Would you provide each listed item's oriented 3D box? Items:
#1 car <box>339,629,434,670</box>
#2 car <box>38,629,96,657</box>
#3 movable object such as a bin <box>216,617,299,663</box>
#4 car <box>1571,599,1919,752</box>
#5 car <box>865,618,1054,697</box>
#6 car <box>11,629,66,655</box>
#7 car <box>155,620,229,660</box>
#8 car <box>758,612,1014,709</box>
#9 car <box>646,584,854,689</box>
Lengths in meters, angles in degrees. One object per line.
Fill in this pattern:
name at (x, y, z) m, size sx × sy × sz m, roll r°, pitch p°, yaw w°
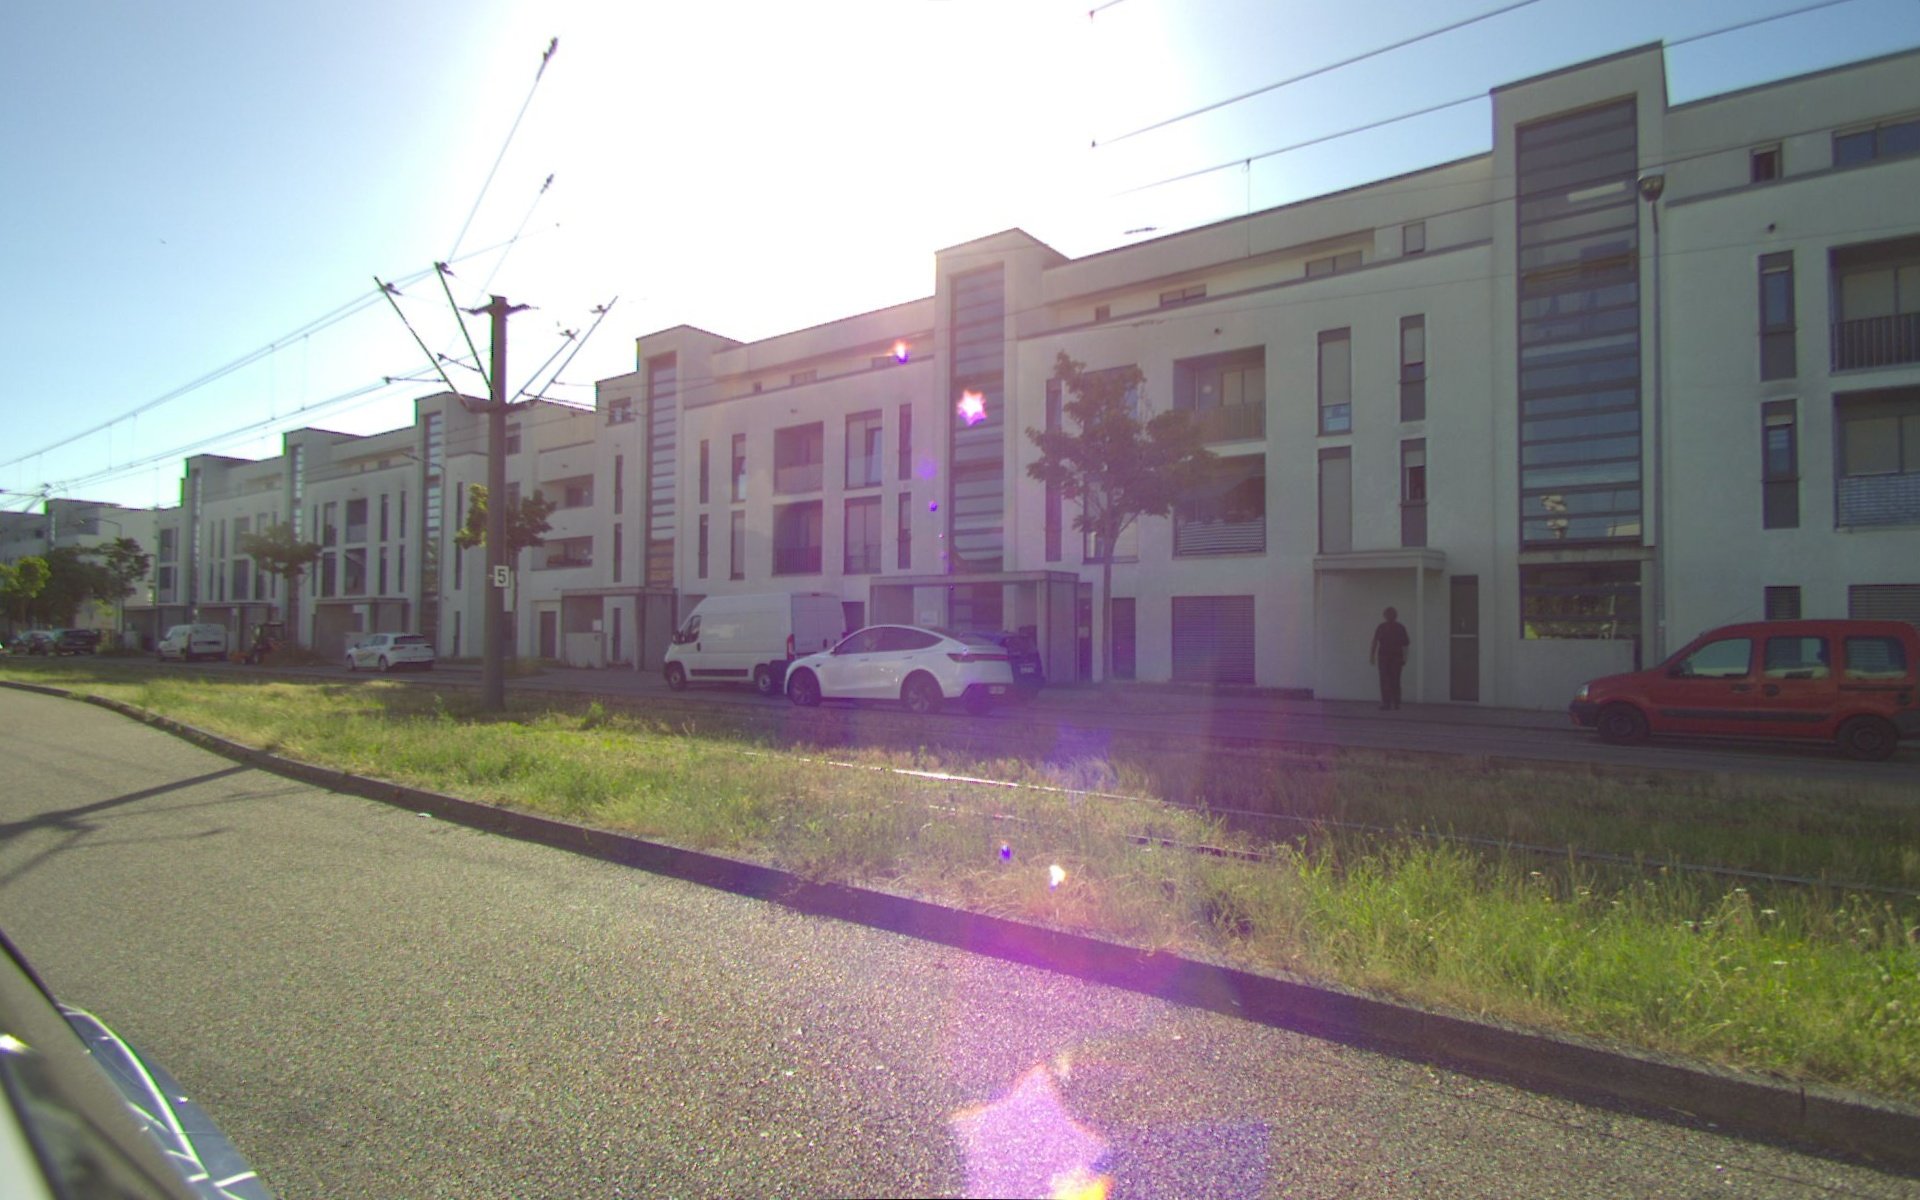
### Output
car at (-21.869, 1.852, 38.528) m, size 4.147 × 1.443 × 1.504 m, roll -2°, pitch -1°, yaw 35°
car at (-54.480, 2.597, 61.715) m, size 4.147 × 1.611 × 1.746 m, roll -2°, pitch -1°, yaw 35°
movable object such as a bin at (-31.788, 1.784, 45.759) m, size 4.147 × 1.952 × 1.746 m, roll -2°, pitch -1°, yaw 35°
car at (10.721, 0.936, 13.813) m, size 3.833 × 1.809 × 1.862 m, roll -2°, pitch -1°, yaw 39°
car at (-0.052, 1.202, 22.044) m, size 3.837 × 1.548 × 1.806 m, roll -2°, pitch -1°, yaw 39°
car at (-59.118, 2.690, 64.916) m, size 4.147 × 1.611 × 1.746 m, roll -2°, pitch -1°, yaw 35°
car at (-38.323, 1.981, 50.474) m, size 4.147 × 1.884 × 1.746 m, roll -2°, pitch -1°, yaw 35°
car at (-1.459, 1.117, 18.991) m, size 4.638 × 1.608 × 1.975 m, roll -2°, pitch -5°, yaw 37°
car at (-5.519, 0.917, 26.227) m, size 5.580 × 2.463 × 2.120 m, roll -2°, pitch -1°, yaw 37°
